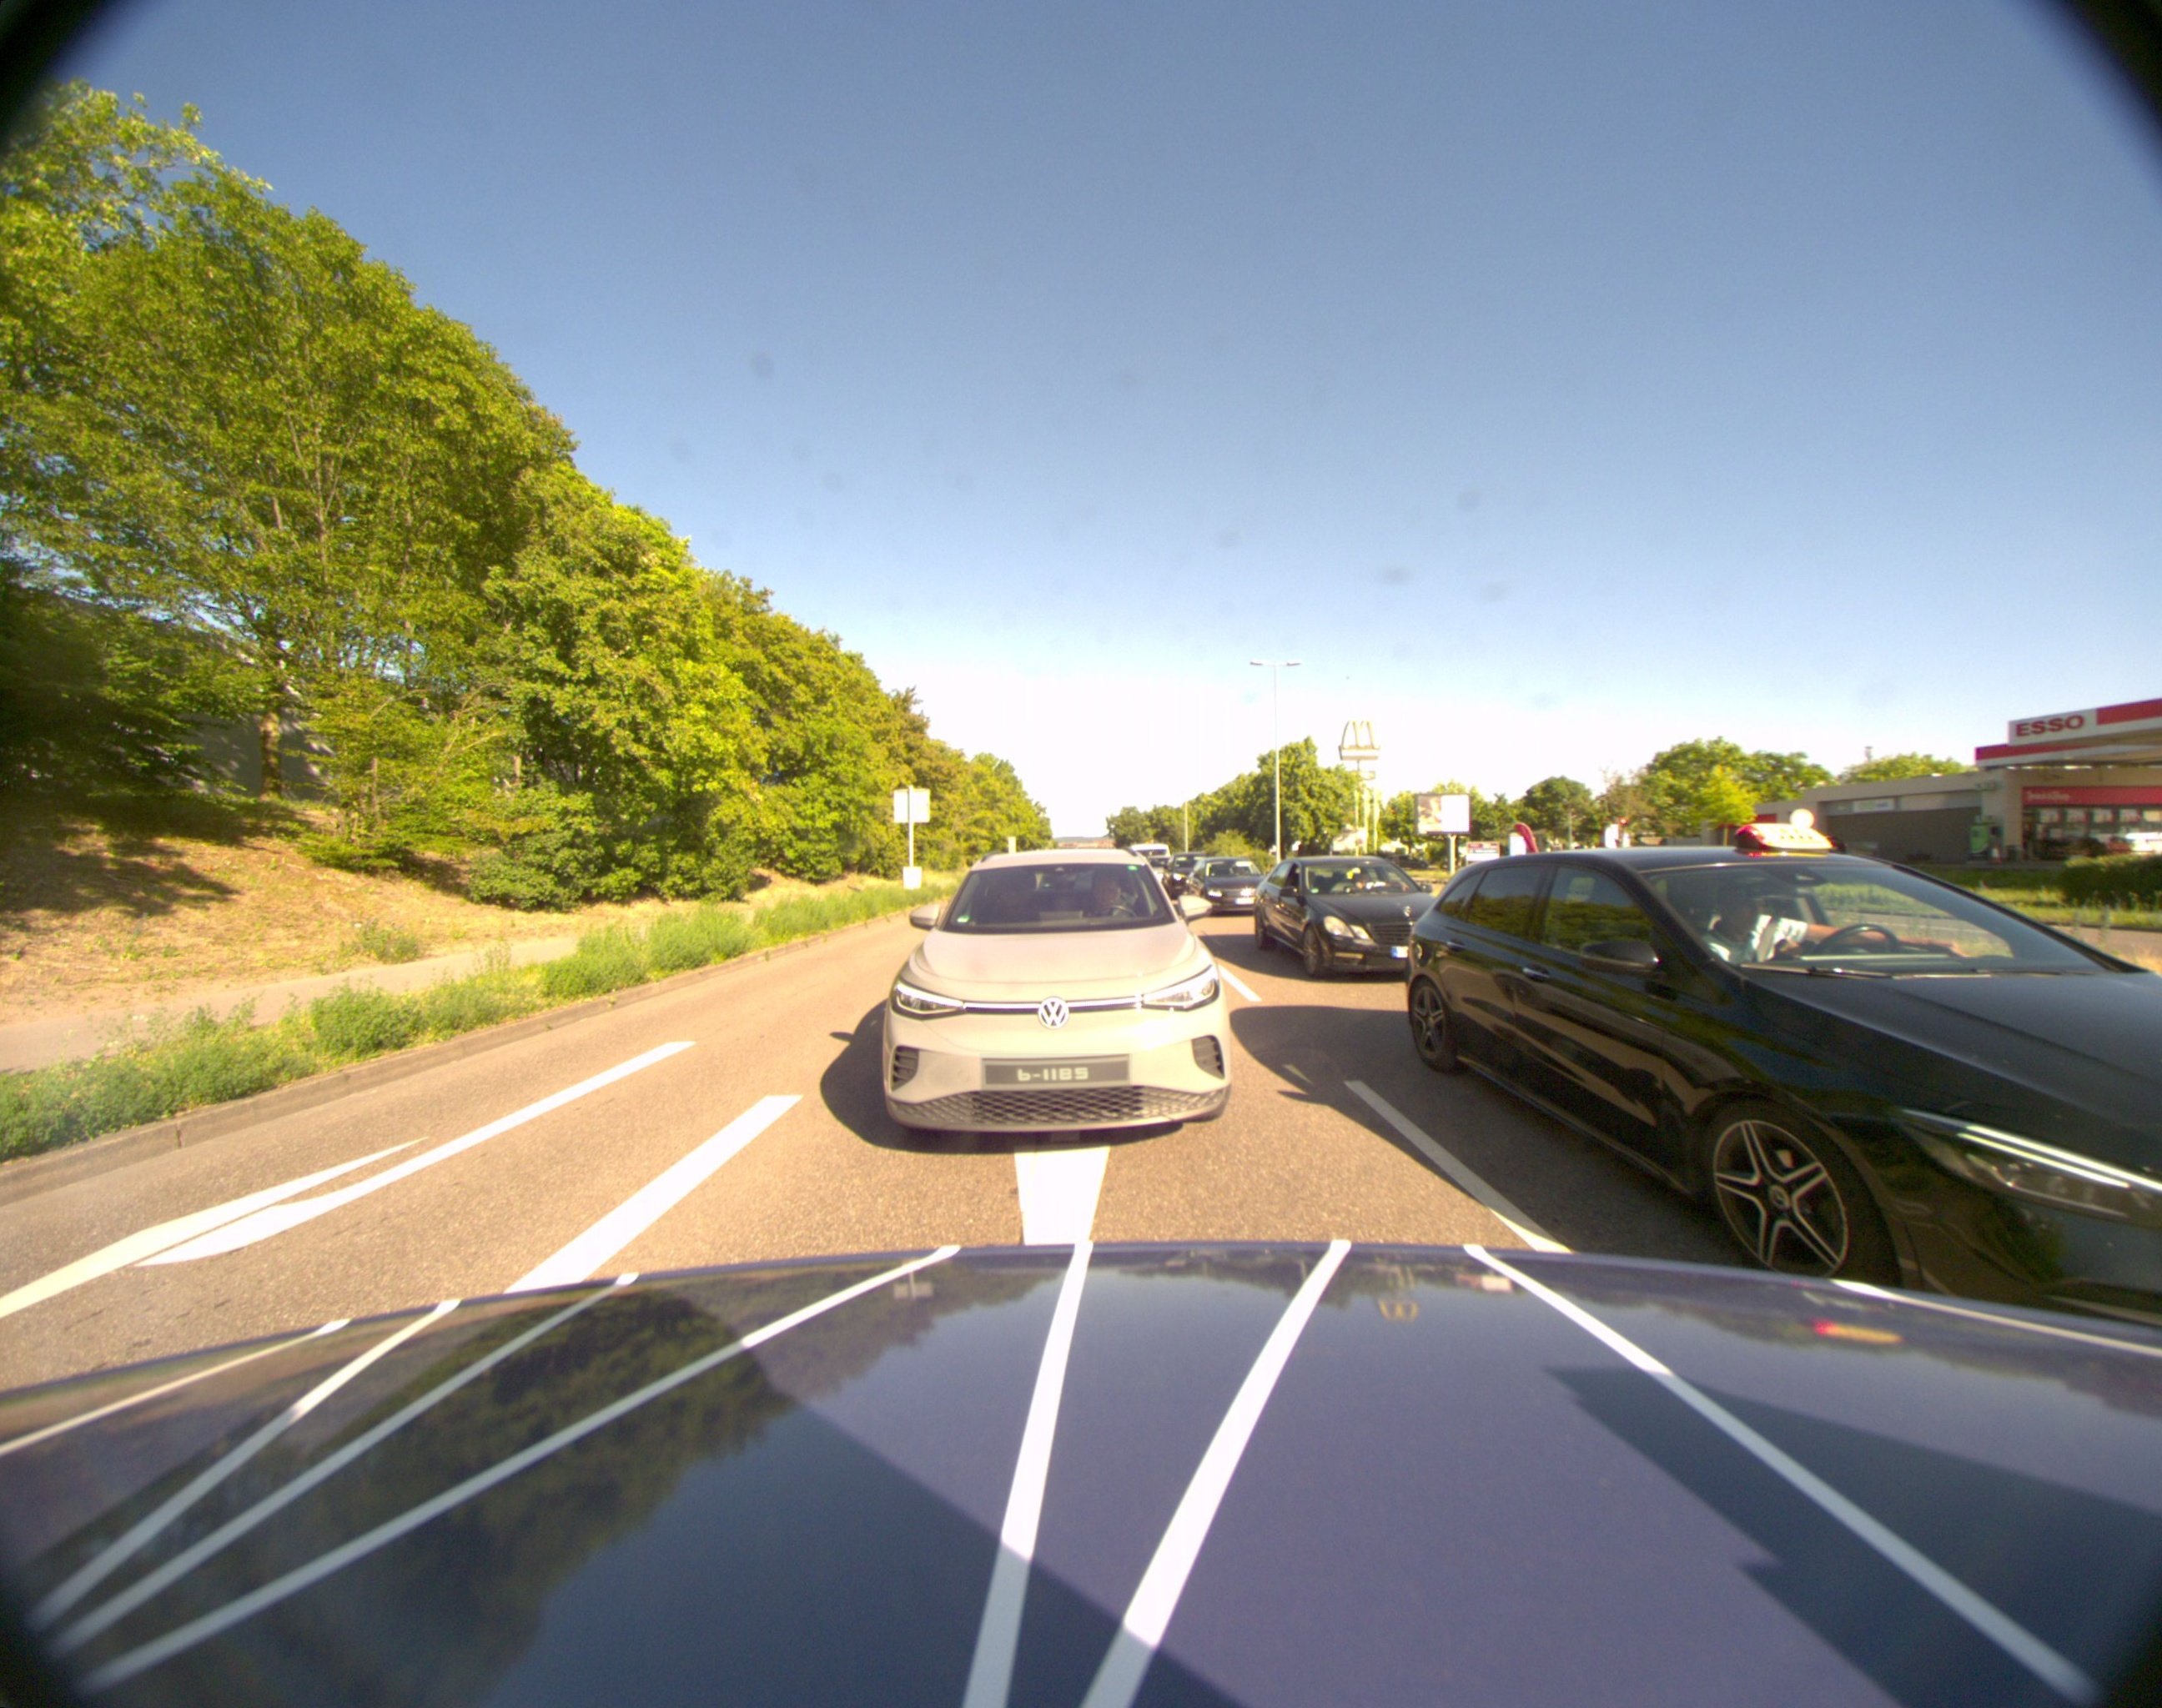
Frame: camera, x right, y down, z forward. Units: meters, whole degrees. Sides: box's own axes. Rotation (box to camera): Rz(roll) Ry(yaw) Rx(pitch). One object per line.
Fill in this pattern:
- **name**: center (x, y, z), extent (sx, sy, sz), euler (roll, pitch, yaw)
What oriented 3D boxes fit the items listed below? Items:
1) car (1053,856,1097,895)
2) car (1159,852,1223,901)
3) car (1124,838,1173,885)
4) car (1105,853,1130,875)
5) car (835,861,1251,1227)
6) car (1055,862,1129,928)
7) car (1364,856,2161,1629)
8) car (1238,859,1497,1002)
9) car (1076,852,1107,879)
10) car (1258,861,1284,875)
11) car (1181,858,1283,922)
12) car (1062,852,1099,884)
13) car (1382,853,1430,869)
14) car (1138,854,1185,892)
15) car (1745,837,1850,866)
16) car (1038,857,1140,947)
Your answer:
- **car**: center (-0.256, 0.880, 33.045), extent (1.763, 1.482, 4.402), euler (-2, 1, 0)
- **car**: center (3.907, 0.756, 27.488), extent (1.674, 1.607, 3.879), euler (-2, 0, 0)
- **car**: center (3.654, 0.384, 42.051), extent (2.019, 2.349, 6.523), euler (-2, 0, 0)
- **car**: center (2.932, 0.815, 62.127), extent (1.763, 1.607, 4.402), euler (-2, 1, 0)
- **car**: center (-0.178, 0.899, 5.714), extent (1.862, 1.573, 4.403), euler (-2, 0, 0)
- **car**: center (0.267, 1.038, 20.939), extent (1.763, 1.482, 4.402), euler (-2, 1, 0)
- **car**: center (3.094, 0.818, 3.665), extent (1.763, 1.482, 4.402), euler (-2, 1, 0)
- **car**: center (3.592, 0.851, 10.512), extent (1.868, 1.430, 4.402), euler (-2, 1, 0)
- **car**: center (0.630, 0.689, 47.034), extent (1.763, 1.482, 4.402), euler (-2, 1, 0)
- **car**: center (20.645, 1.524, 82.602), extent (1.763, 1.401, 3.978), euler (1, 1, 0)
- **car**: center (3.875, 0.860, 20.228), extent (1.797, 1.419, 4.287), euler (-2, 0, 0)
- **car**: center (-0.042, 0.712, 39.867), extent (1.763, 1.482, 4.402), euler (-2, 1, 0)
- **car**: center (31.169, 0.662, 72.901), extent (3.979, 1.401, 1.763), euler (1, 1, -11)
- **car**: center (3.575, 0.790, 34.177), extent (1.635, 1.547, 3.777), euler (-2, 0, 0)
- **car**: center (37.440, -0.161, 39.836), extent (1.682, 1.401, 3.978), euler (1, 1, 0)
- **car**: center (0.138, 0.871, 15.771), extent (1.763, 1.482, 4.402), euler (-2, 1, 0)
